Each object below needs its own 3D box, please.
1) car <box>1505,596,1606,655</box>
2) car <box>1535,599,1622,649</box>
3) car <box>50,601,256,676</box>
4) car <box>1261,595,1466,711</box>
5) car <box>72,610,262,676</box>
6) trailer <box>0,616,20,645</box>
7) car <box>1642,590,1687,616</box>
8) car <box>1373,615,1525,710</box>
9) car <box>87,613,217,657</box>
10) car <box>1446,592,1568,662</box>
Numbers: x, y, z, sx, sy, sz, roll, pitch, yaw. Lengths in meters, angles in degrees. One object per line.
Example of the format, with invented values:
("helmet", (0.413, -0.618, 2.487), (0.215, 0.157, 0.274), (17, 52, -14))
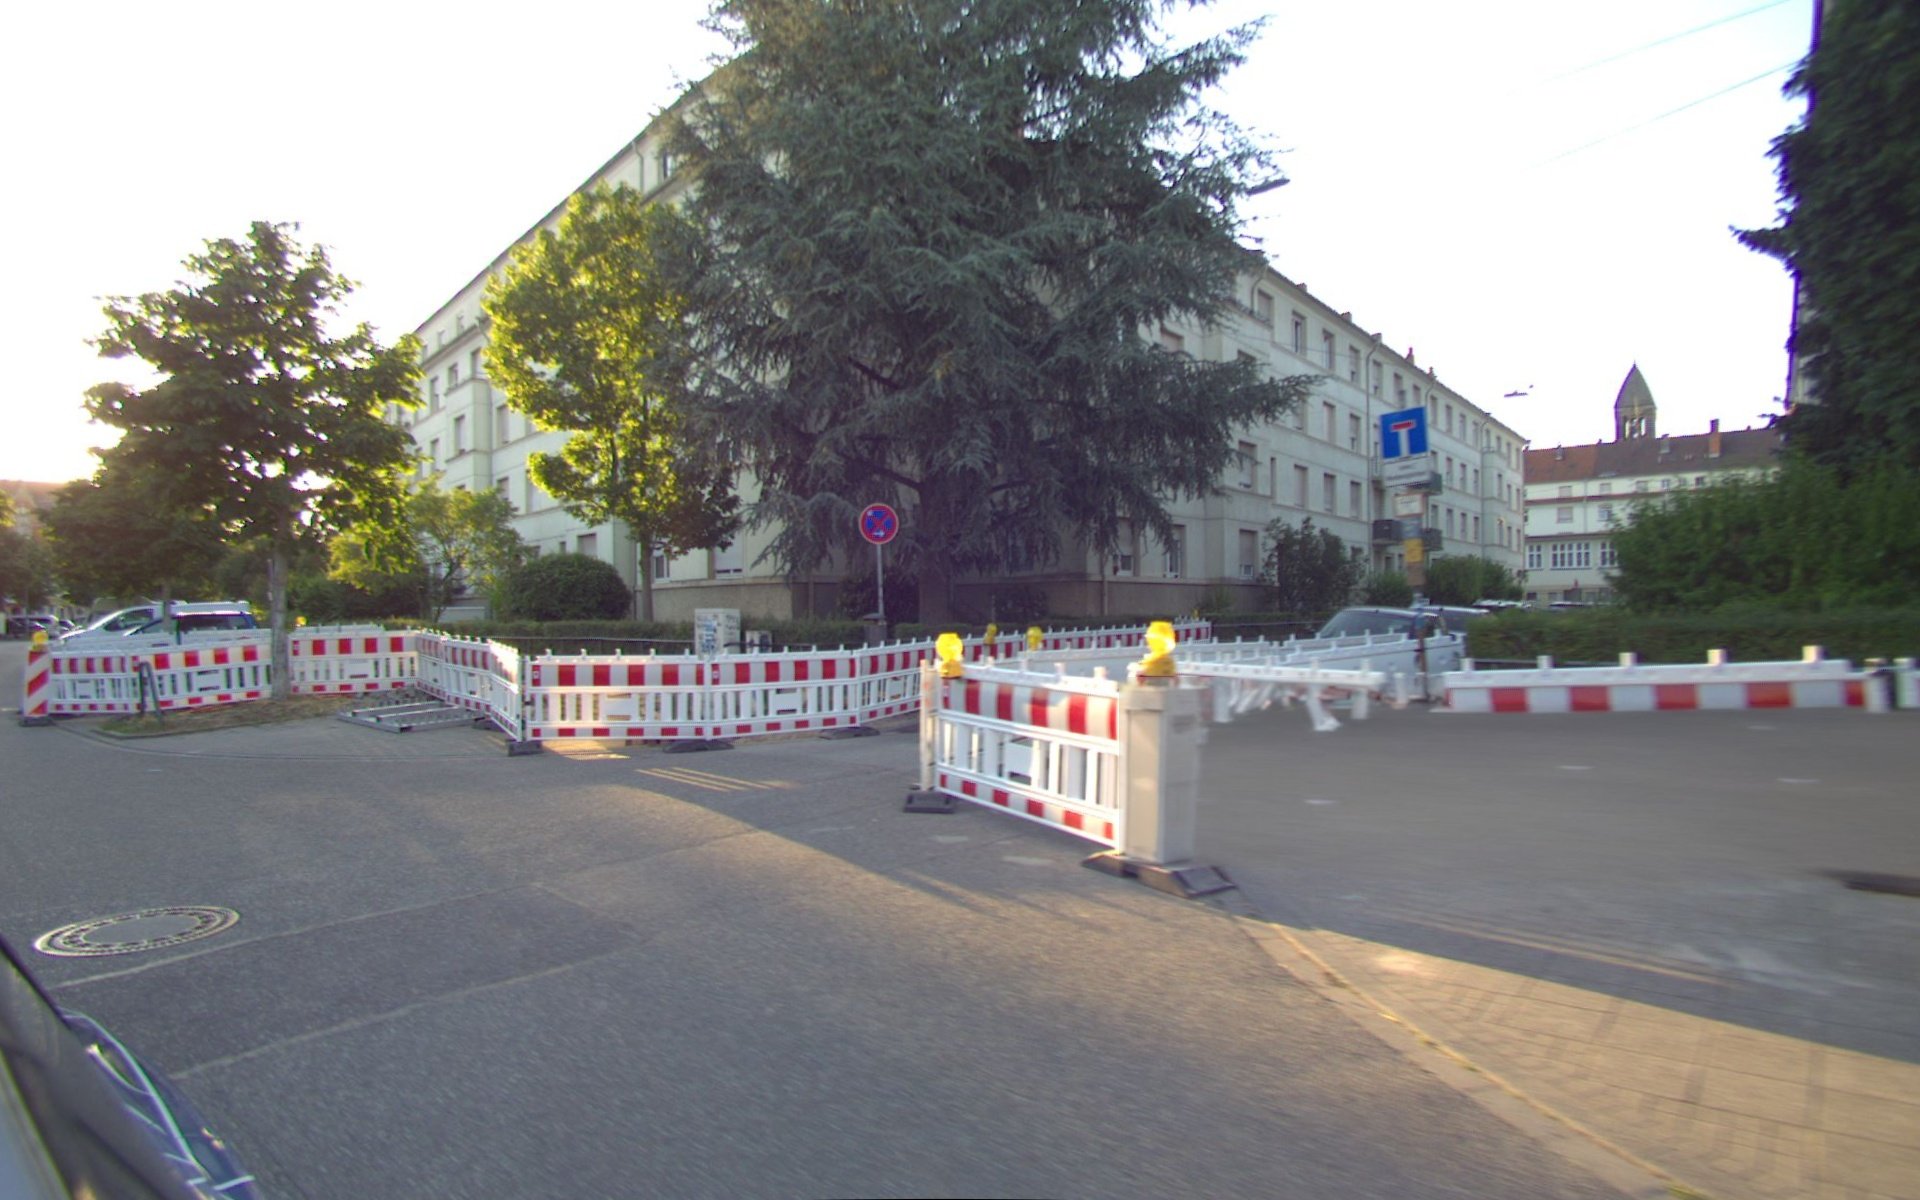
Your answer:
("car", (16.010, 0.620, 27.147), (1.786, 1.439, 3.702), (1, 1, 39))
("car", (19.129, 0.688, 31.233), (1.786, 1.439, 3.702), (1, 1, 39))
("car", (-24.277, 1.082, 30.565), (4.719, 2.085, 2.002), (0, -1, -44))
("car", (6.090, 0.672, 15.055), (1.786, 1.471, 3.702), (1, 1, 39))
("car", (-22.346, 1.150, 28.591), (4.072, 1.696, 2.002), (0, -1, -44))
("trailer", (-70.394, 2.213, 72.887), (3.628, 2.084, 2.005), (-1, 0, -35))
("car", (40.284, 0.142, 57.827), (1.786, 1.439, 3.702), (1, 1, 39))
("car", (9.045, 1.048, 18.582), (1.684, 1.471, 3.702), (1, 1, 39))
("car", (-33.509, 1.419, 41.998), (4.072, 1.696, 2.002), (0, -1, -44))
("car", (12.440, 0.558, 22.933), (1.786, 1.439, 3.578), (1, 1, 39))
